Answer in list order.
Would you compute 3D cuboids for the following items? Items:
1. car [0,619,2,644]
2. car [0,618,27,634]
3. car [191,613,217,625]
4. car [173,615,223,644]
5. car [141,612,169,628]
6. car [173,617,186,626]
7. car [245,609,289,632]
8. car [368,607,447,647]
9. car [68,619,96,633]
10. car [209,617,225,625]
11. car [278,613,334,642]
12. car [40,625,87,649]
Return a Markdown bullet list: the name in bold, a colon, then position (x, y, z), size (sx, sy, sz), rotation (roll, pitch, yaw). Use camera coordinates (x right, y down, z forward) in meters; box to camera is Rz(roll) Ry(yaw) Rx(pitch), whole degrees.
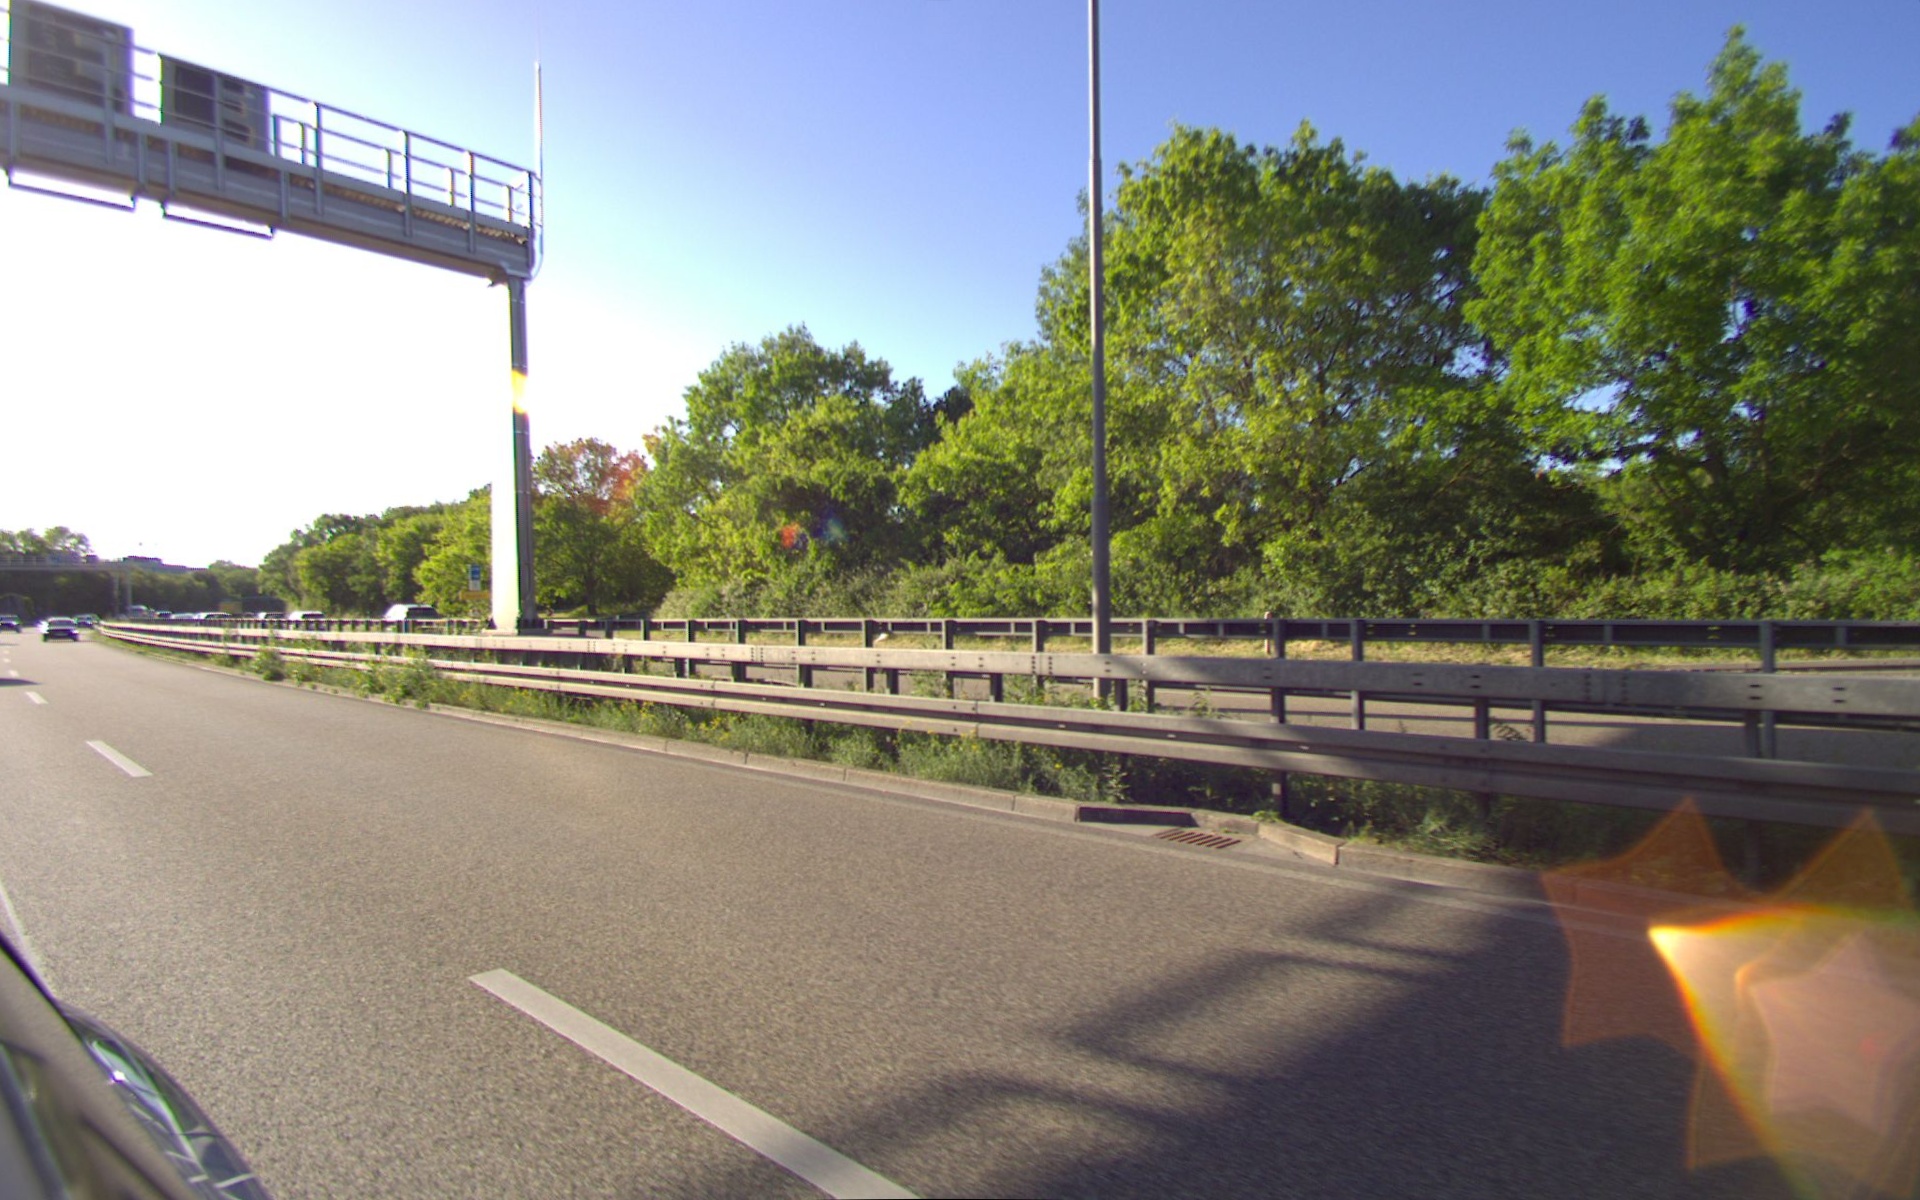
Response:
- **car**: position (-58.369, 1.907, 60.196), size (1.970, 1.425, 4.835), rotation (-2, 0, -43)
- **car**: position (-90.667, 2.506, 96.631), size (1.968, 1.425, 4.839), rotation (-2, 0, -39)
- **car**: position (-94.425, 2.340, 126.411), size (1.970, 1.425, 4.835), rotation (-2, 0, -44)
- **car**: position (-47.808, 1.834, 63.440), size (1.970, 1.653, 4.725), rotation (-2, 0, -44)
- **car**: position (-88.793, 2.232, 111.655), size (1.970, 1.653, 4.725), rotation (-2, 0, -44)
- **car**: position (-147.022, 4.047, 190.638), size (1.968, 1.425, 4.840), rotation (-2, 0, -38)
- **car**: position (-53.600, 1.576, 78.248), size (1.970, 1.653, 5.031), rotation (-2, 0, -44)
- **car**: position (-25.063, 1.217, 45.841), size (1.970, 1.653, 4.725), rotation (-2, 0, -44)
- **car**: position (-101.256, 2.987, 116.734), size (1.967, 1.425, 4.841), rotation (-2, 0, -37)
- **car**: position (-136.798, 3.897, 186.290), size (1.966, 1.425, 4.844), rotation (-2, 0, -32)
- **car**: position (-39.626, 1.653, 61.238), size (1.970, 1.653, 4.725), rotation (-2, 0, -44)
- **car**: position (-57.603, 2.339, 65.005), size (1.971, 1.425, 4.833), rotation (-2, 0, -45)
